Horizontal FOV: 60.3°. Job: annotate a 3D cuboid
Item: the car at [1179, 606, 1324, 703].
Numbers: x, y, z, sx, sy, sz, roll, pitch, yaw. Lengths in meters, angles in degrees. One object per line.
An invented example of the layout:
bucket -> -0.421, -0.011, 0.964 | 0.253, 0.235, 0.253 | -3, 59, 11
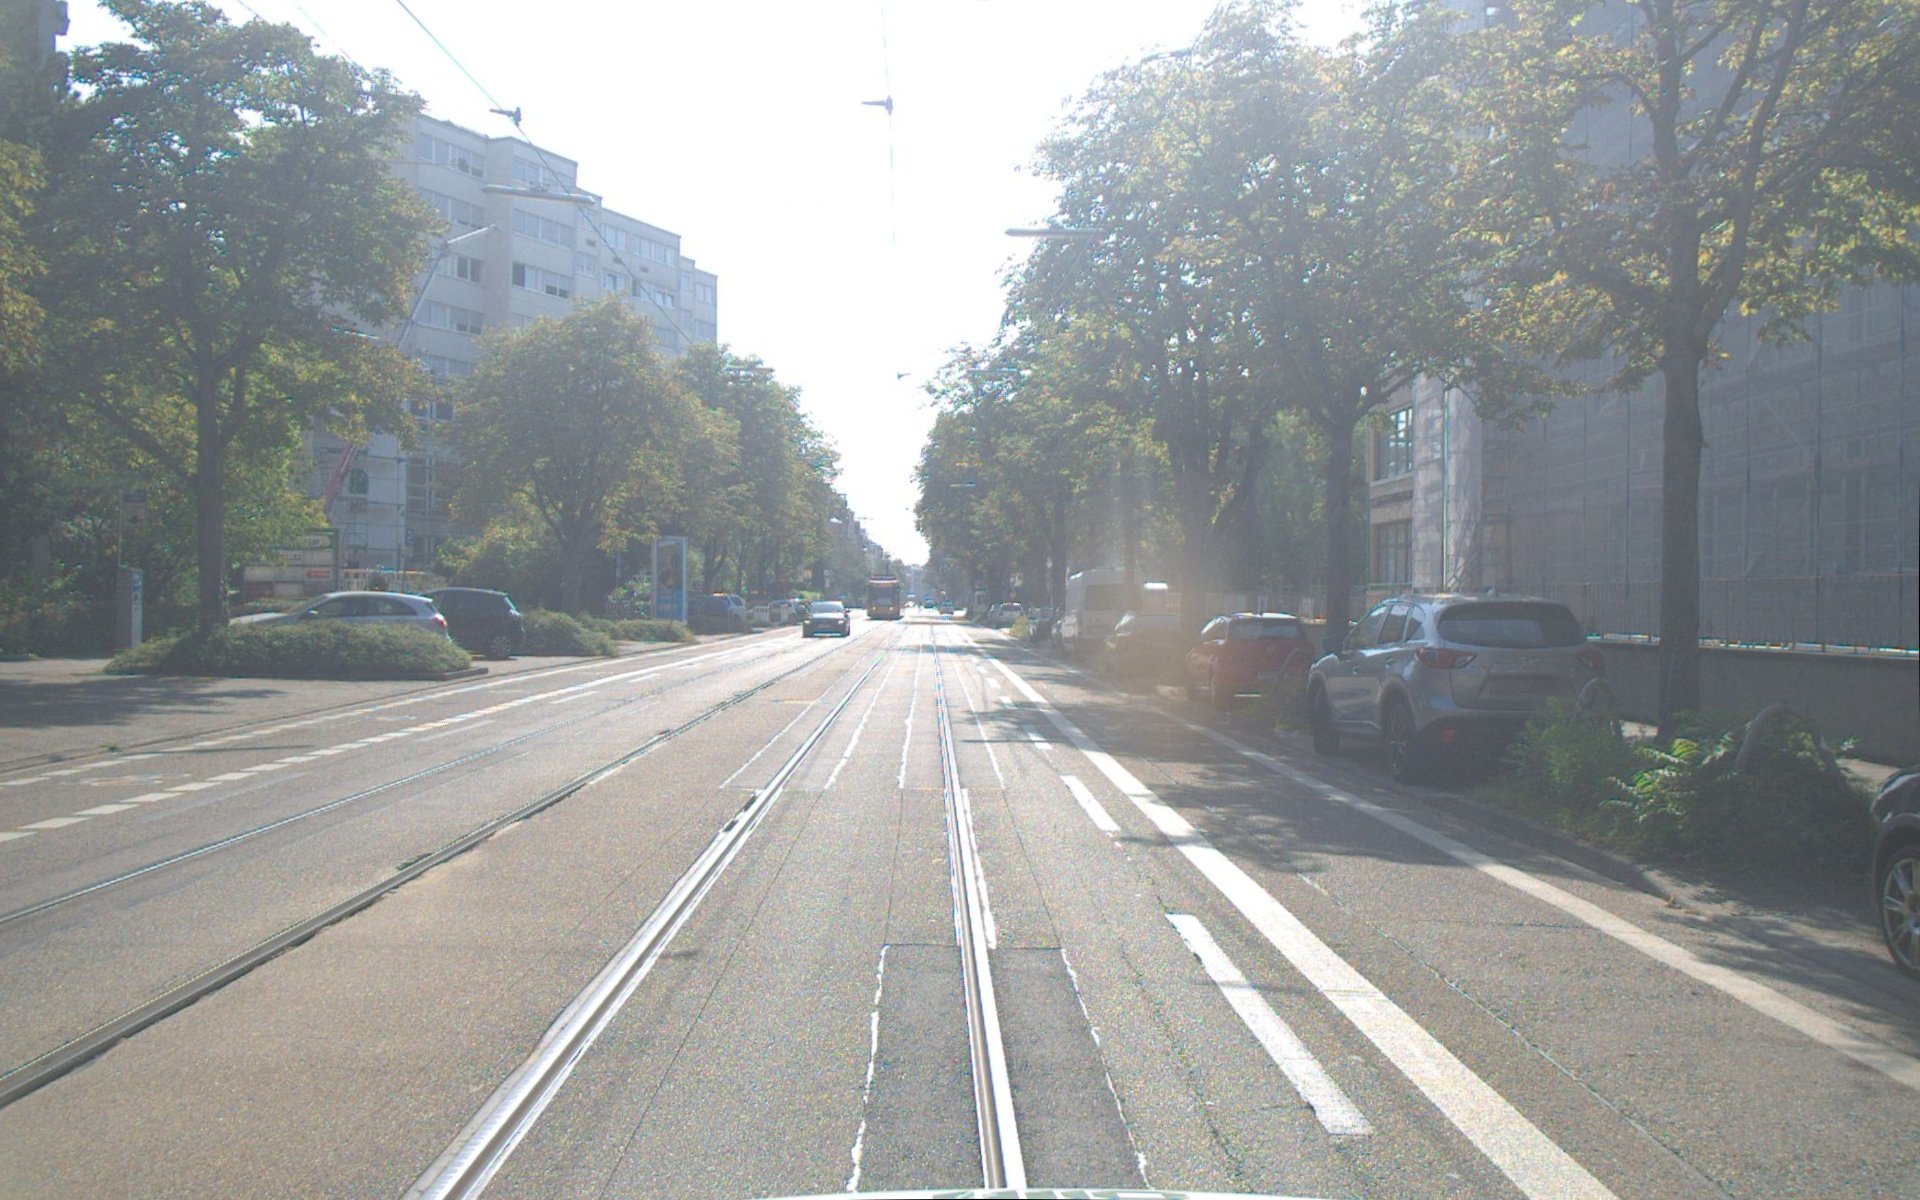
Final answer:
car -> 4.626, 0.829, 26.757 | 1.583, 1.438, 3.999 | 0, 0, -1

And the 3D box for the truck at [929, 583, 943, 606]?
truck -> -3.335, -0.790, 230.109 | 1.823, 3.185, 4.350 | 1, 0, -3

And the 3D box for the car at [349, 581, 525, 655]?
car -> -11.879, 0.413, 37.606 | 3.590, 1.542, 1.608 | 2, 0, -27

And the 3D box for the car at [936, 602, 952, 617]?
car -> -1.962, 1.156, 202.647 | 1.953, 1.870, 4.000 | 1, 0, 0

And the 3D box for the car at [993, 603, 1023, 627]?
car -> 2.861, 0.892, 99.882 | 1.655, 1.443, 3.634 | 1, 0, 0

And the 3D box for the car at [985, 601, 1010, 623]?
car -> 2.558, 0.824, 113.410 | 1.562, 1.443, 3.634 | 1, 0, 0

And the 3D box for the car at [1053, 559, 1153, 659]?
car -> 3.992, 0.253, 47.248 | 2.041, 2.597, 5.498 | -3, 0, -3

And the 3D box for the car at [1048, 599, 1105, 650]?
car -> 3.963, 0.805, 56.649 | 1.630, 1.645, 3.876 | -1, 0, -1

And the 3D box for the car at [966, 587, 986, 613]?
car -> 1.631, 0.011, 168.482 | 1.964, 2.518, 4.476 | 1, 0, 0

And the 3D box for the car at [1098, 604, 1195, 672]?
car -> 4.097, 0.802, 36.977 | 1.583, 1.398, 4.826 | 0, 0, -1

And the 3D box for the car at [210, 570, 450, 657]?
car -> -11.762, 0.265, 30.946 | 3.946, 1.505, 1.770 | 2, 0, -31

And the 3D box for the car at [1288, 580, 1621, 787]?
car -> 4.624, 0.691, 16.193 | 1.718, 1.721, 4.394 | 1, 0, -3

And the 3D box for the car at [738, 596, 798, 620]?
car -> -11.913, 0.505, 102.873 | 1.540, 1.468, 3.745 | 1, 0, 38

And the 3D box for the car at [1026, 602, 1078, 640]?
car -> 3.633, 0.814, 66.091 | 1.718, 1.402, 4.718 | -1, 0, -1

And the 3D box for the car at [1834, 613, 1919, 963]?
car -> 4.932, 0.815, 5.981 | 1.544, 1.511, 3.738 | 0, 0, -1

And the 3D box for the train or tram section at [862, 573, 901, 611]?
train or tram section -> -6.303, -0.580, 134.895 | 2.673, 2.945, 15.450 | 1, 0, -1

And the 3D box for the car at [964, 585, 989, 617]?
car -> 1.420, 0.115, 141.574 | 1.964, 2.534, 4.476 | 3, -1, 0

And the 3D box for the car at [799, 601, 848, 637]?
car -> -5.609, 0.767, 68.591 | 1.791, 1.400, 4.511 | 1, 0, -2
